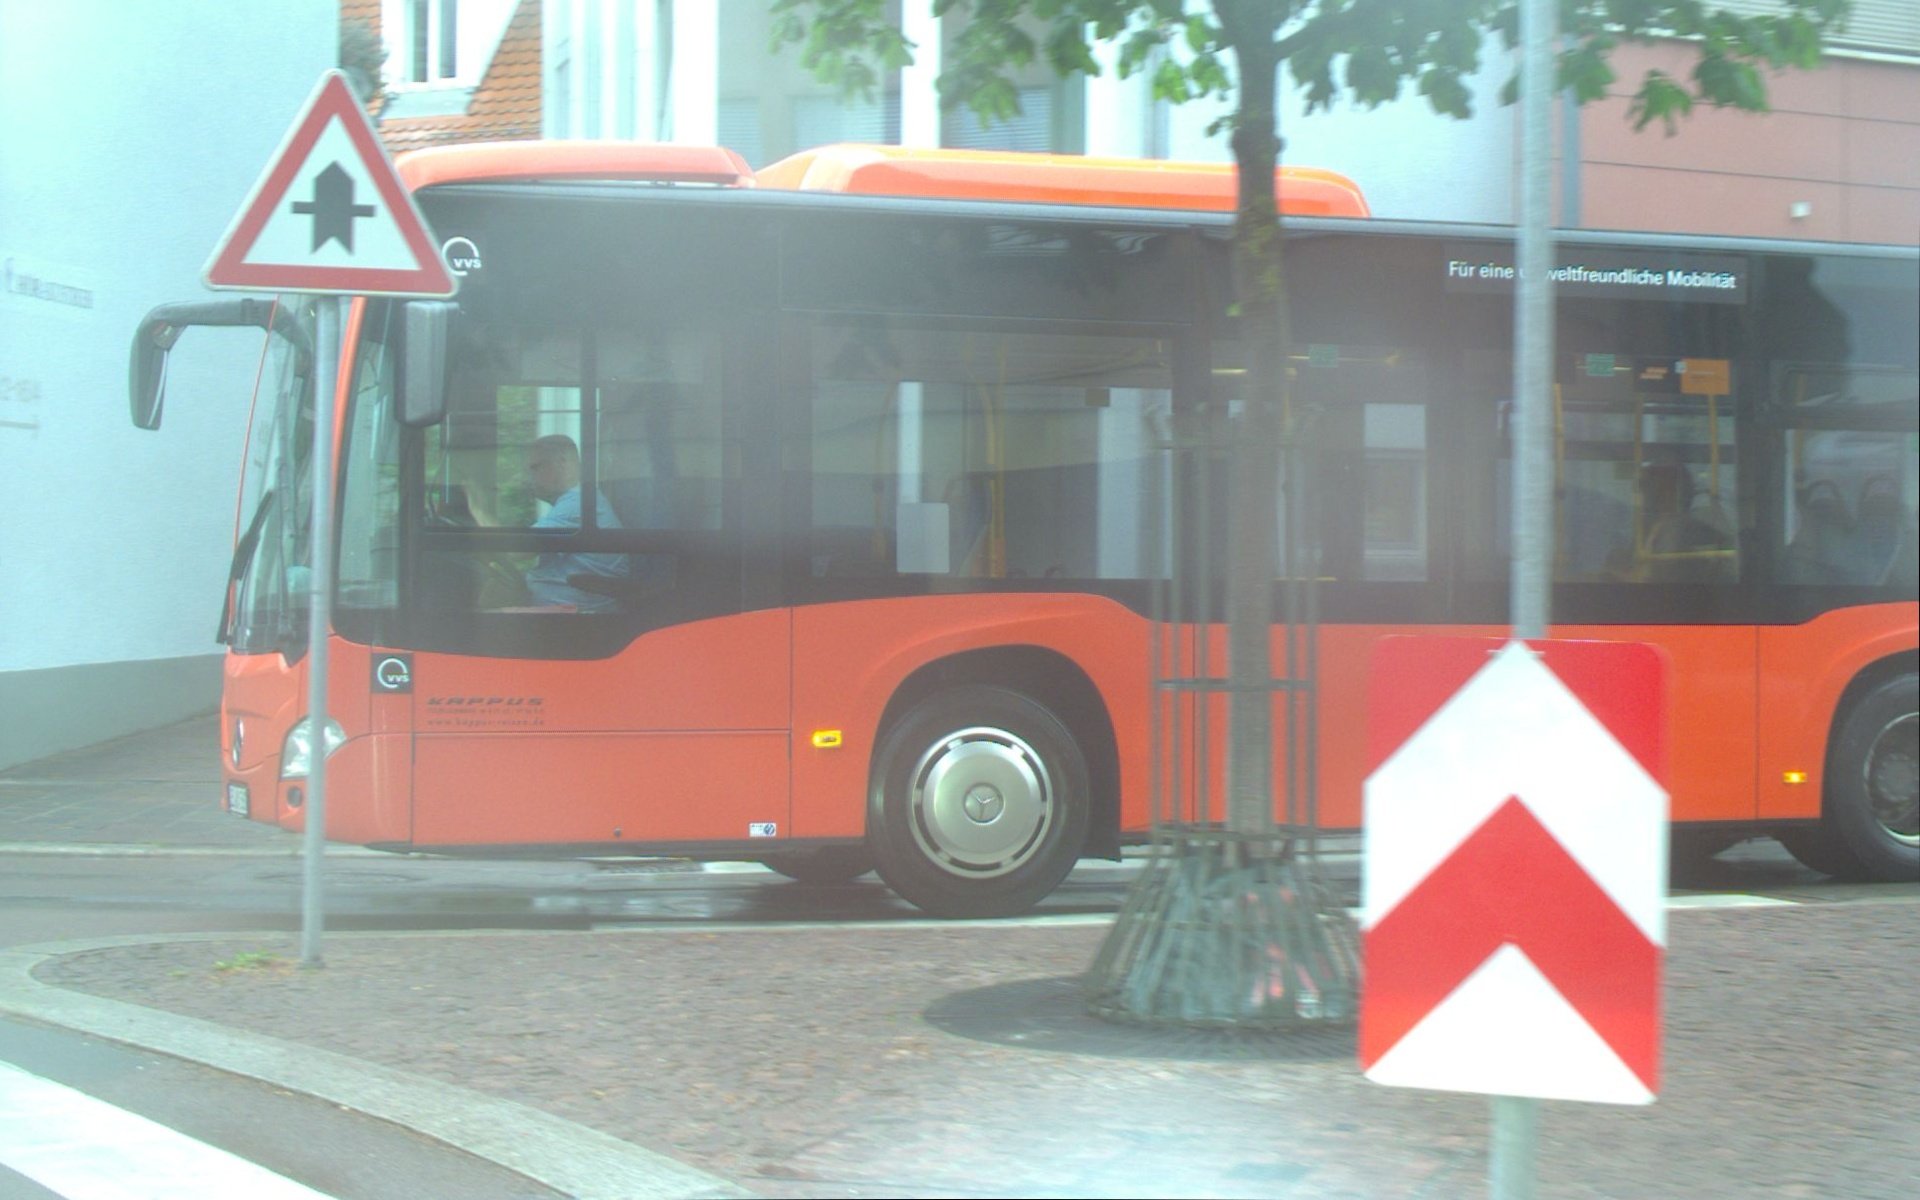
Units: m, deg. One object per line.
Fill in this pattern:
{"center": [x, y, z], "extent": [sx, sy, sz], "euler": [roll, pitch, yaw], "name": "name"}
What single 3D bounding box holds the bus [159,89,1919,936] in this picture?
{"center": [1.928, -0.334, 15.651], "extent": [10.570, 3.078, 2.822], "euler": [0, -1, -20], "name": "bus"}
